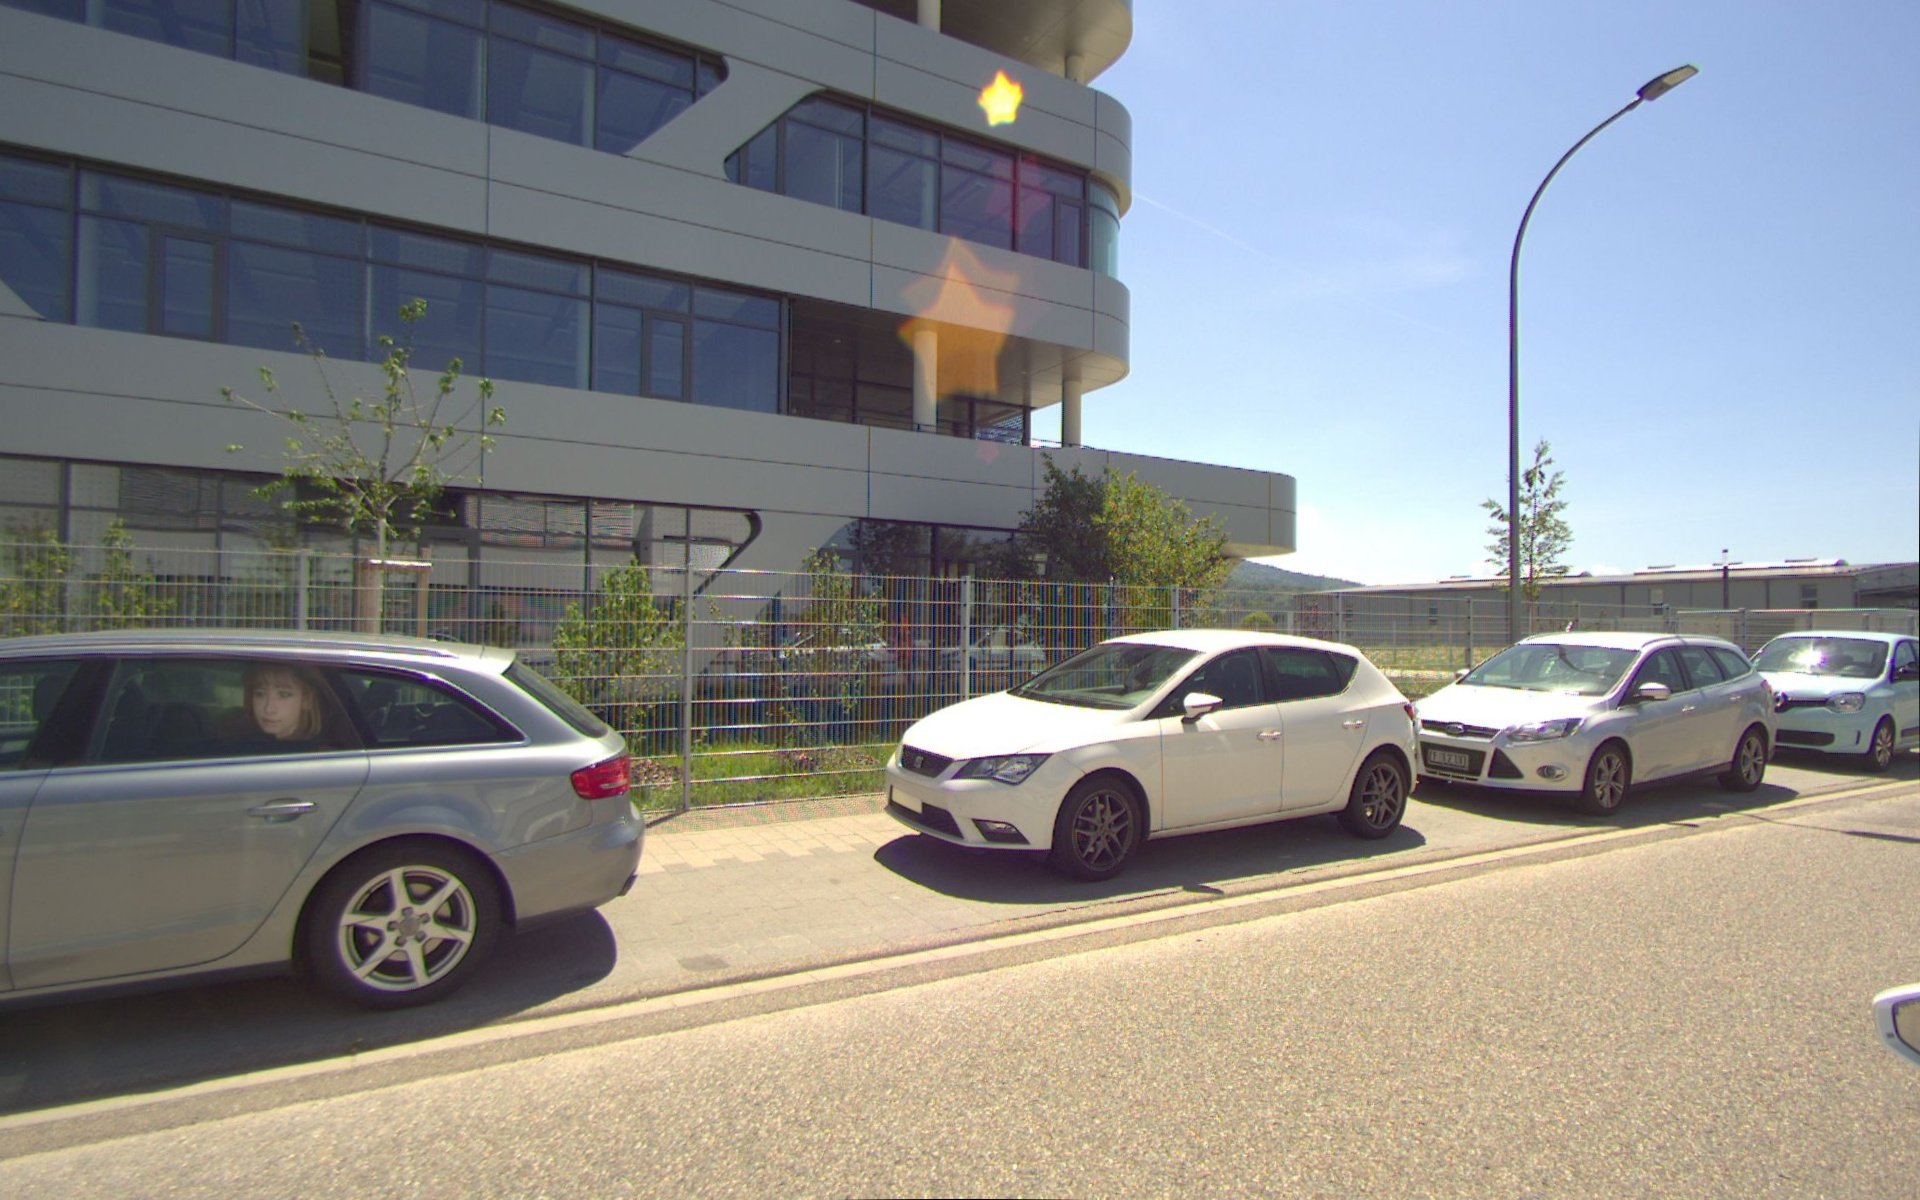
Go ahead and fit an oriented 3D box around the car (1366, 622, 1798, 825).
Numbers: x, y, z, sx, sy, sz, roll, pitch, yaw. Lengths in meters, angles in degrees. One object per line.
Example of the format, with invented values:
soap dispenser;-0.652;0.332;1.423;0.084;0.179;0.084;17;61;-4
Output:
car;6.129;1.033;9.745;4.520;1.556;1.694;2;-1;-31

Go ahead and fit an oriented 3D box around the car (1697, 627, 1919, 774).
car;10.999;1.152;12.551;3.616;1.556;1.626;2;-1;-31

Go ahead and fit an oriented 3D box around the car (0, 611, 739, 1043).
car;-3.383;0.754;4.088;4.583;1.404;1.676;1;-1;-30

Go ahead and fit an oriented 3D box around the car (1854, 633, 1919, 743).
car;15.210;1.291;14.980;3.923;1.520;1.627;2;-1;-29

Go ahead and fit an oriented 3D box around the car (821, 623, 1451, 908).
car;1.384;0.941;7.146;4.389;1.463;1.694;2;-1;-31
